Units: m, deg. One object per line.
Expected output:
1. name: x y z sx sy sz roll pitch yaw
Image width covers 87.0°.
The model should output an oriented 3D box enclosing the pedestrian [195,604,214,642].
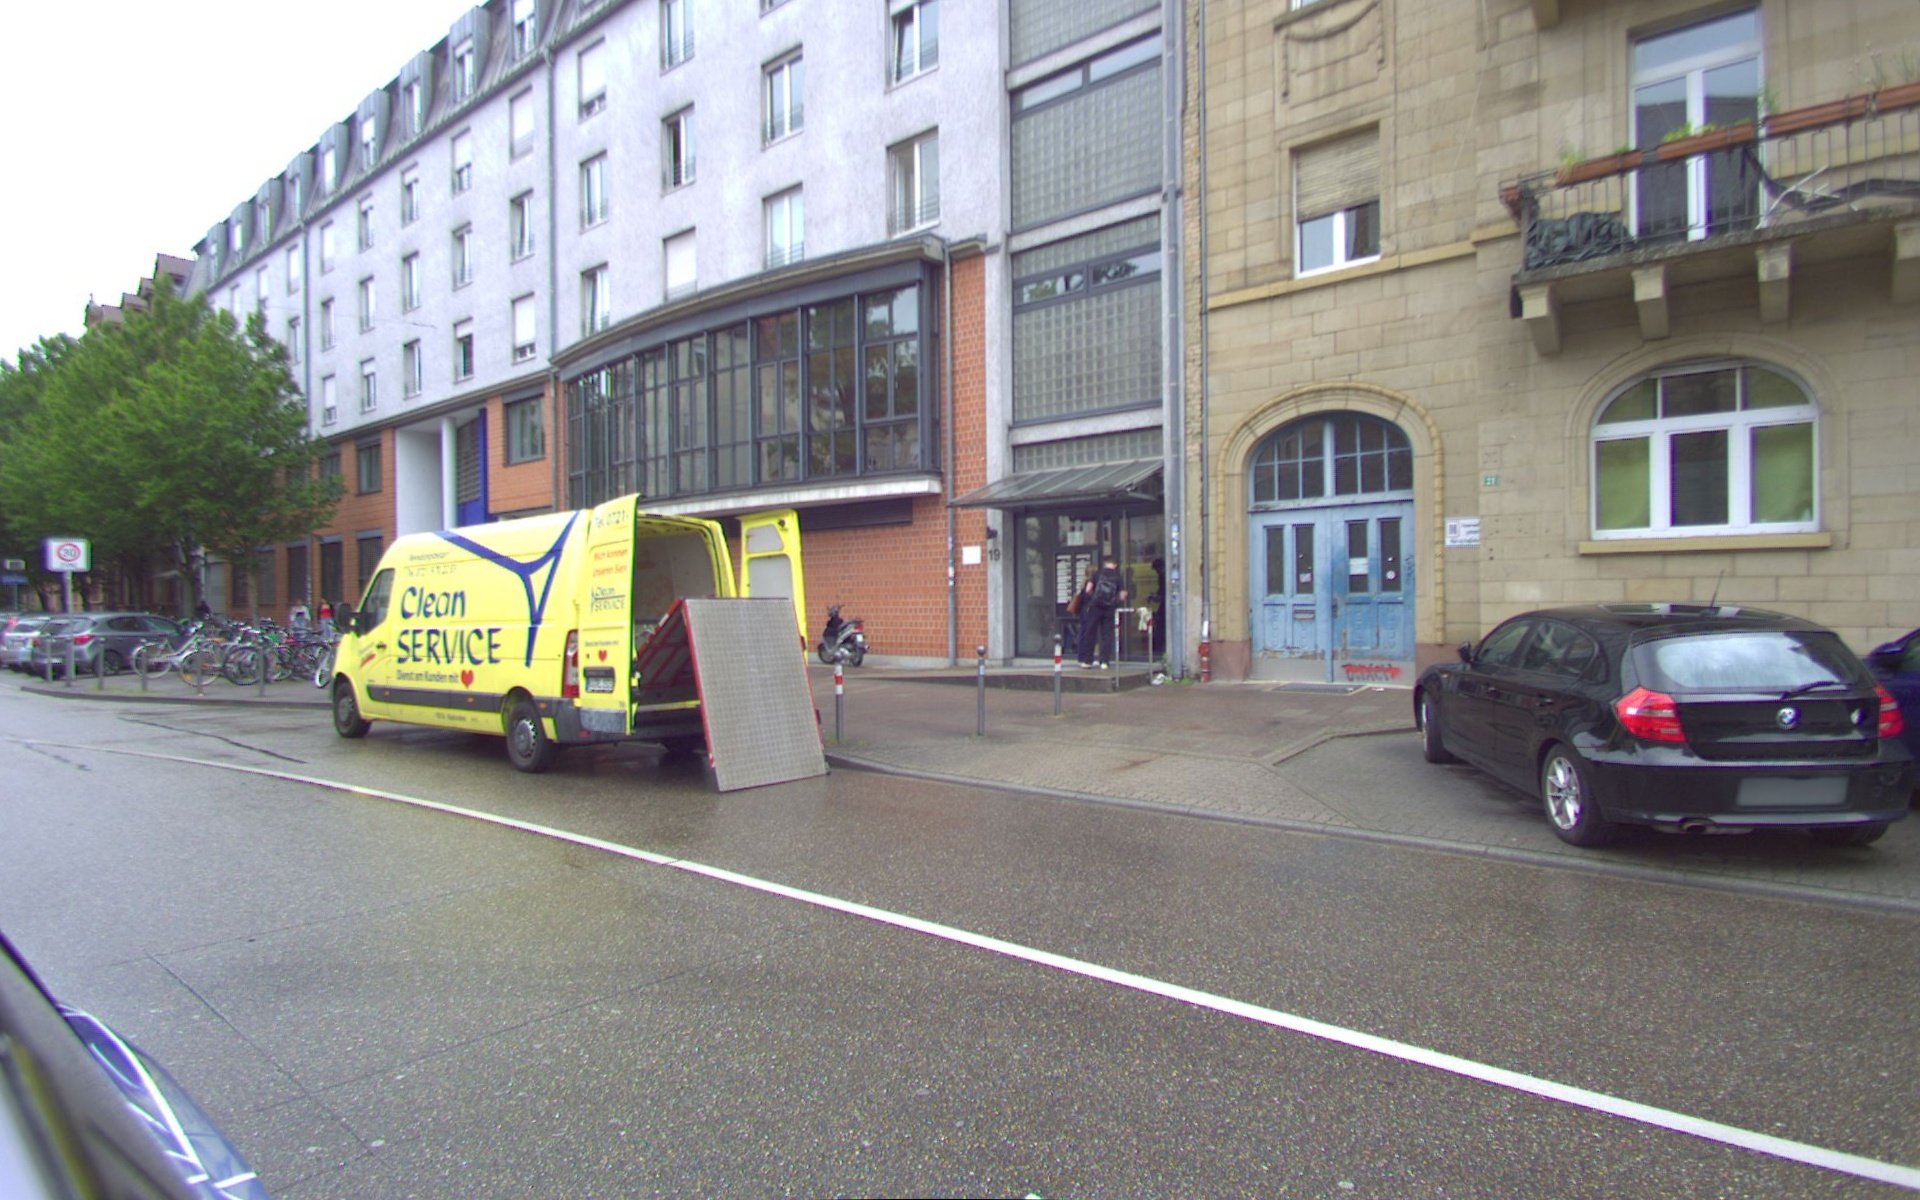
1. pedestrian: -31.841 0.961 42.662 0.533 1.609 0.564 -1 -1 41

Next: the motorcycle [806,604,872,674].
1. motorcycle: -2.226 0.683 18.426 0.516 1.190 1.763 -1 0 -30

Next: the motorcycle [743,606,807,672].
1. motorcycle: -3.555 0.714 19.330 0.516 1.190 2.010 -1 0 -30

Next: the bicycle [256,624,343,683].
1. bicycle: -13.306 1.061 20.402 1.439 1.111 0.462 -2 1 -36

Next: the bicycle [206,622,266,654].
1. bicycle: -23.856 1.235 33.356 0.444 0.992 1.573 -1 -1 32

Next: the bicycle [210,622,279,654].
1. bicycle: -23.416 1.235 33.146 0.444 0.992 1.831 -1 -1 32

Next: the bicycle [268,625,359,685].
1. bicycle: -12.707 1.067 19.910 0.418 1.072 1.442 -1 1 44

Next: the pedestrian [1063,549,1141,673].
1. pedestrian: 2.095 0.159 14.898 0.785 1.741 0.998 -1 -1 31

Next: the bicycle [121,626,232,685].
1. bicycle: -16.617 1.147 21.511 0.472 1.114 1.791 -1 1 35

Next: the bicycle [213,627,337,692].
1. bicycle: -12.819 1.081 18.988 1.832 1.081 0.610 -2 1 -45

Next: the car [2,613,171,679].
1. car: -22.180 1.132 25.827 1.436 1.514 3.070 -1 0 9

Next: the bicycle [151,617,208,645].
1. bicycle: -28.559 1.135 37.048 0.464 0.992 1.573 -1 -1 32

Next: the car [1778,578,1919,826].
1. car: 6.891 0.635 5.747 1.780 1.585 4.029 -1 -1 11

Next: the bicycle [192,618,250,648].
1. bicycle: -25.652 1.128 35.165 0.444 0.992 1.573 -1 -1 32

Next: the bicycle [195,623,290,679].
1. bicycle: -15.567 1.091 21.980 0.519 1.114 1.591 -1 1 35

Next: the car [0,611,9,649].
1. car: -48.748 1.446 48.857 1.666 1.910 4.330 0 -1 -1

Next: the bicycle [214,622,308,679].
1. bicycle: -14.965 1.053 21.698 0.517 1.114 1.596 -1 1 27

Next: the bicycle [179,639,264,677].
1. bicycle: -16.381 1.277 22.469 0.497 0.727 1.454 -1 1 43

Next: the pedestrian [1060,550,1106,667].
1. pedestrian: 1.902 0.136 15.686 0.467 1.761 0.608 0 -1 -24

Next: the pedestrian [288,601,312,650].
1. pedestrian: -22.414 0.863 34.363 0.372 1.622 0.598 -1 -1 39

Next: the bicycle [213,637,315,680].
1. bicycle: -14.532 1.208 21.183 0.455 0.767 1.757 -1 1 27

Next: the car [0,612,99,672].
1. car: -26.698 1.177 28.984 1.432 1.564 3.078 -1 0 0

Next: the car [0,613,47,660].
1. car: -33.087 1.256 34.581 1.138 1.567 2.672 -1 0 11

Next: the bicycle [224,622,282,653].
1. bicycle: -23.873 1.245 34.183 0.444 0.992 1.573 -1 -1 32

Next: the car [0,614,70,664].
1. car: -30.976 1.270 32.808 1.358 1.567 2.971 -1 0 11

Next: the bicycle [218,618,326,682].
1. bicycle: -14.094 1.001 20.797 0.517 1.203 1.798 -1 1 27

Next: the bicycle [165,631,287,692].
1. bicycle: -13.821 1.137 19.093 0.519 1.000 1.778 -1 1 38

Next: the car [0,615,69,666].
1. car: -29.104 1.240 31.140 1.177 1.461 2.502 -1 0 0

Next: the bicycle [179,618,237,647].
1. bicycle: -26.609 1.130 35.835 0.464 0.992 1.573 -1 -1 32

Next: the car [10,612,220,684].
1. car: -19.881 1.075 24.018 1.720 1.514 3.614 0 0 9

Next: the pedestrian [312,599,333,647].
1. pedestrian: -21.689 0.781 34.442 0.425 1.622 0.508 -1 -1 41

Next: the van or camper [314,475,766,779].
1. van or camper: -4.979 0.289 11.466 5.935 2.631 2.174 -1 -2 39

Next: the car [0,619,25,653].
1. car: -43.533 1.608 44.571 1.662 1.502 3.799 0 -1 -10

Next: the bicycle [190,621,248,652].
1. bicycle: -25.314 1.238 34.597 0.444 0.992 1.573 -1 -1 32

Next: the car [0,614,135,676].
1. car: -24.280 1.174 27.379 1.432 1.514 3.078 -1 0 0

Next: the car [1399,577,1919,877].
1. car: 4.713 0.674 7.199 1.777 1.523 4.036 0 -1 6

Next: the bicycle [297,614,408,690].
1. bicycle: -11.238 0.934 18.795 0.760 1.225 1.917 0 3 5

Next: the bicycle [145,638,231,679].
1. bicycle: -17.162 1.285 22.512 0.497 0.811 1.454 -1 1 43
